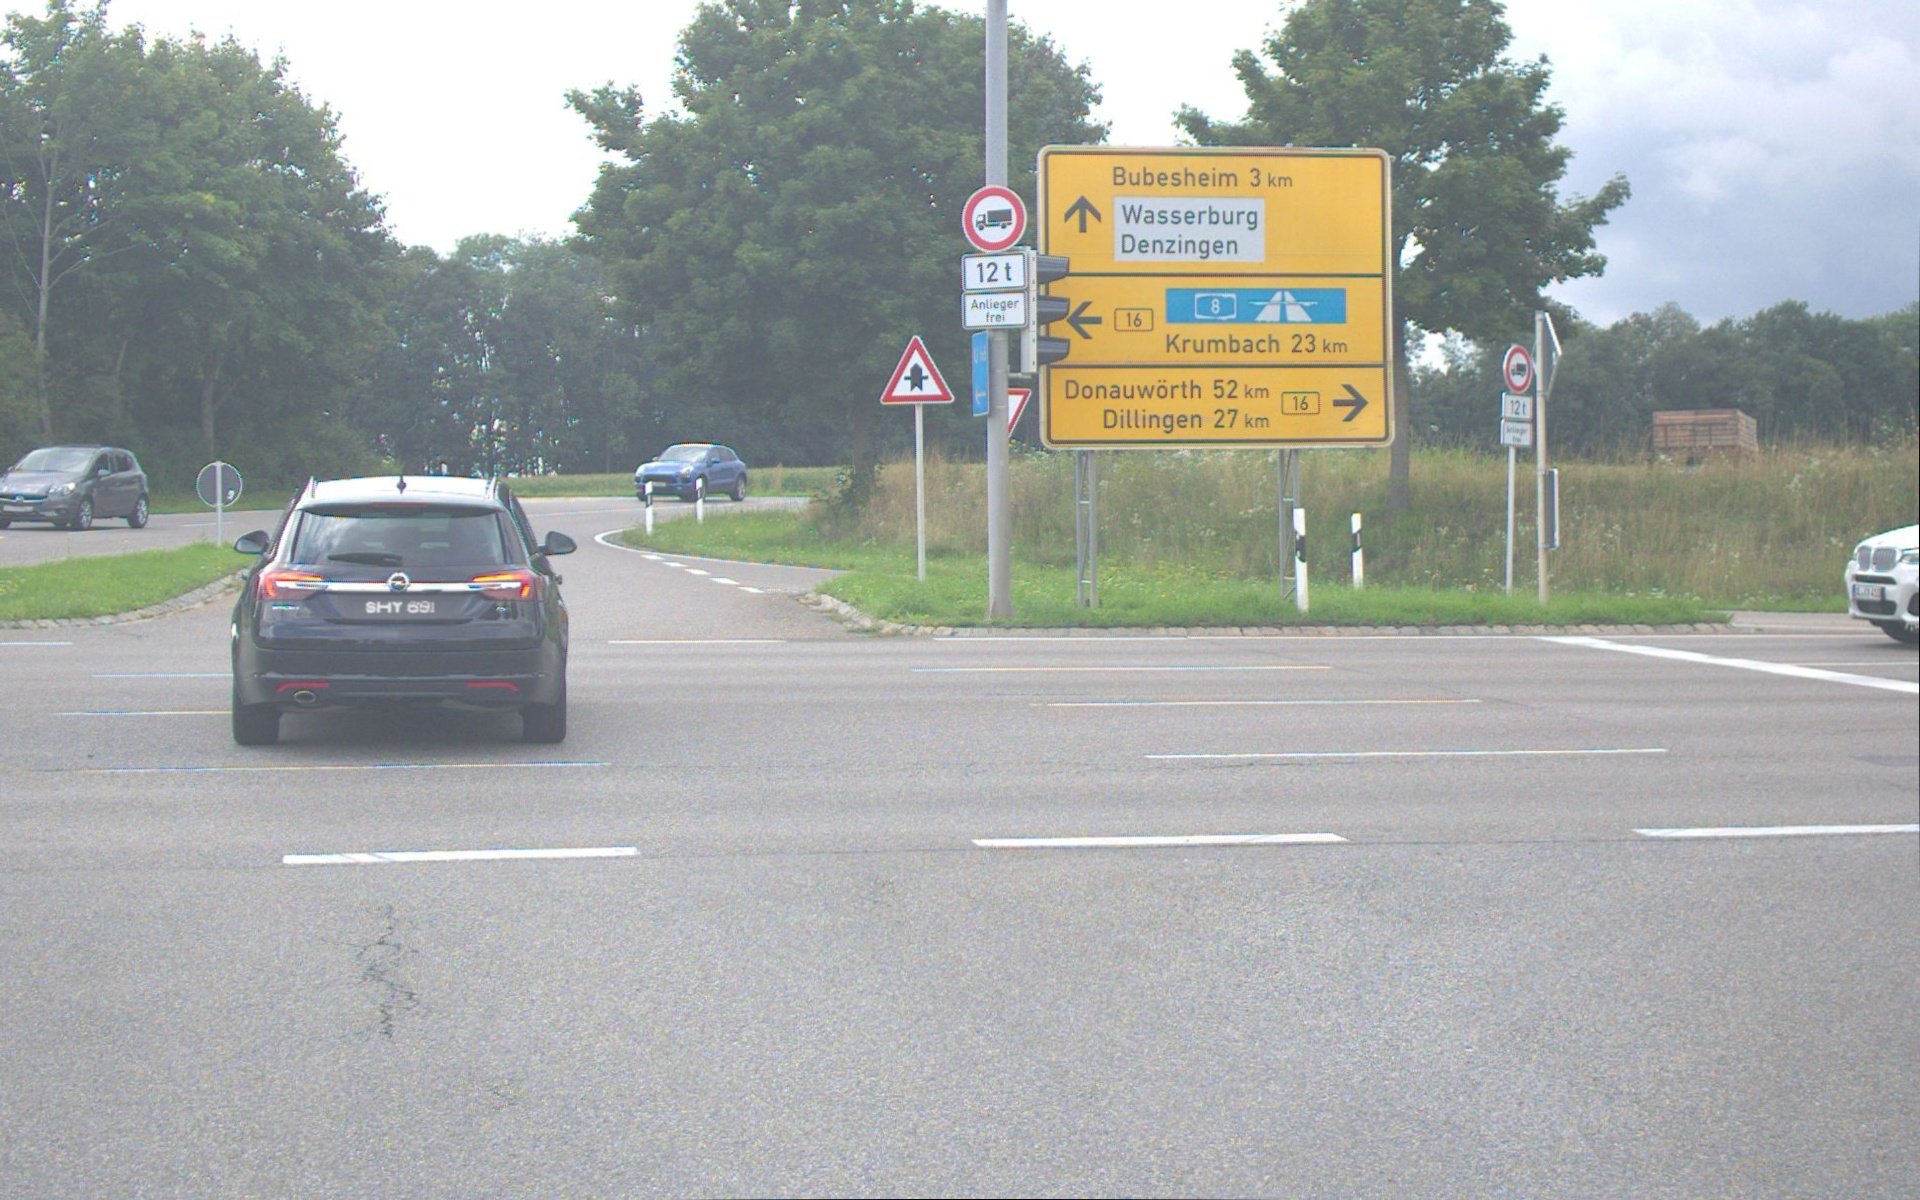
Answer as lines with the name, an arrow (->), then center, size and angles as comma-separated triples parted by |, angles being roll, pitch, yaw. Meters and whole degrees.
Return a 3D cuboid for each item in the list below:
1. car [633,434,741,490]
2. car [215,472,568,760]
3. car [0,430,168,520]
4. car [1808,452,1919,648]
car -> -7.812, -3.962, 98.650 | 1.994, 1.565, 4.755 | 1, 2, 9
car -> -3.242, 0.004, 19.976 | 1.807, 1.445, 4.274 | 0, 3, -8
car -> -15.624, -2.177, 60.466 | 1.994, 1.530, 3.999 | 0, 1, 8
car -> 9.813, -0.437, 29.941 | 4.259, 1.623, 2.001 | 0, 1, -12
